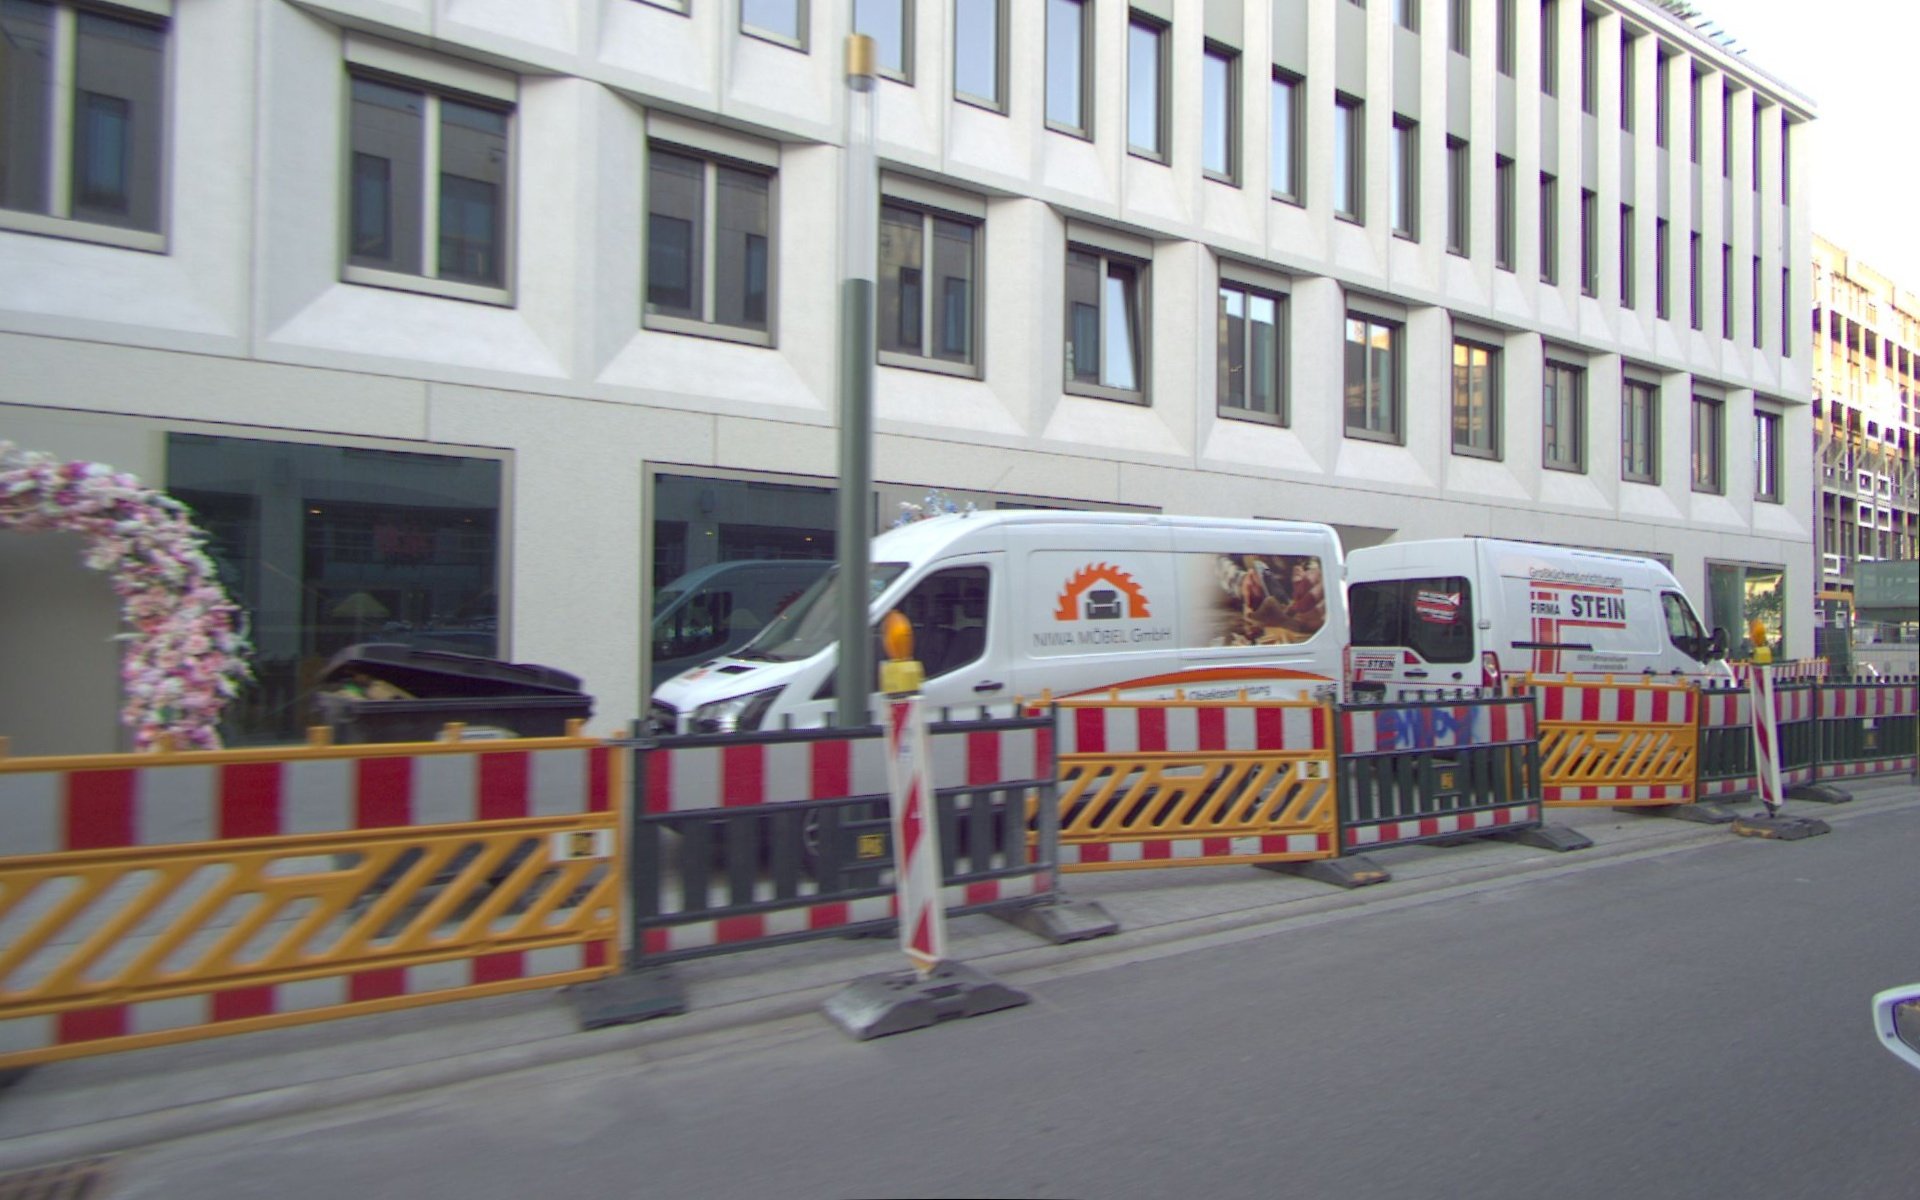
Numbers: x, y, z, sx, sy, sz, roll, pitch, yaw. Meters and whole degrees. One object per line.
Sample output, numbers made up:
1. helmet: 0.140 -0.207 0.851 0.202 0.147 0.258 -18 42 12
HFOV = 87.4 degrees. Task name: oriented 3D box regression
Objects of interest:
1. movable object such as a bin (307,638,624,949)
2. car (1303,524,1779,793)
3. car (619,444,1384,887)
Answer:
1. movable object such as a bin: -2.804 0.968 5.722 1.383 1.485 1.034 2 -2 -41
2. car: 6.930 0.628 11.758 5.928 2.503 2.164 1 -2 -30
3. car: 0.540 0.453 8.099 5.927 2.503 2.164 1 -2 -30
